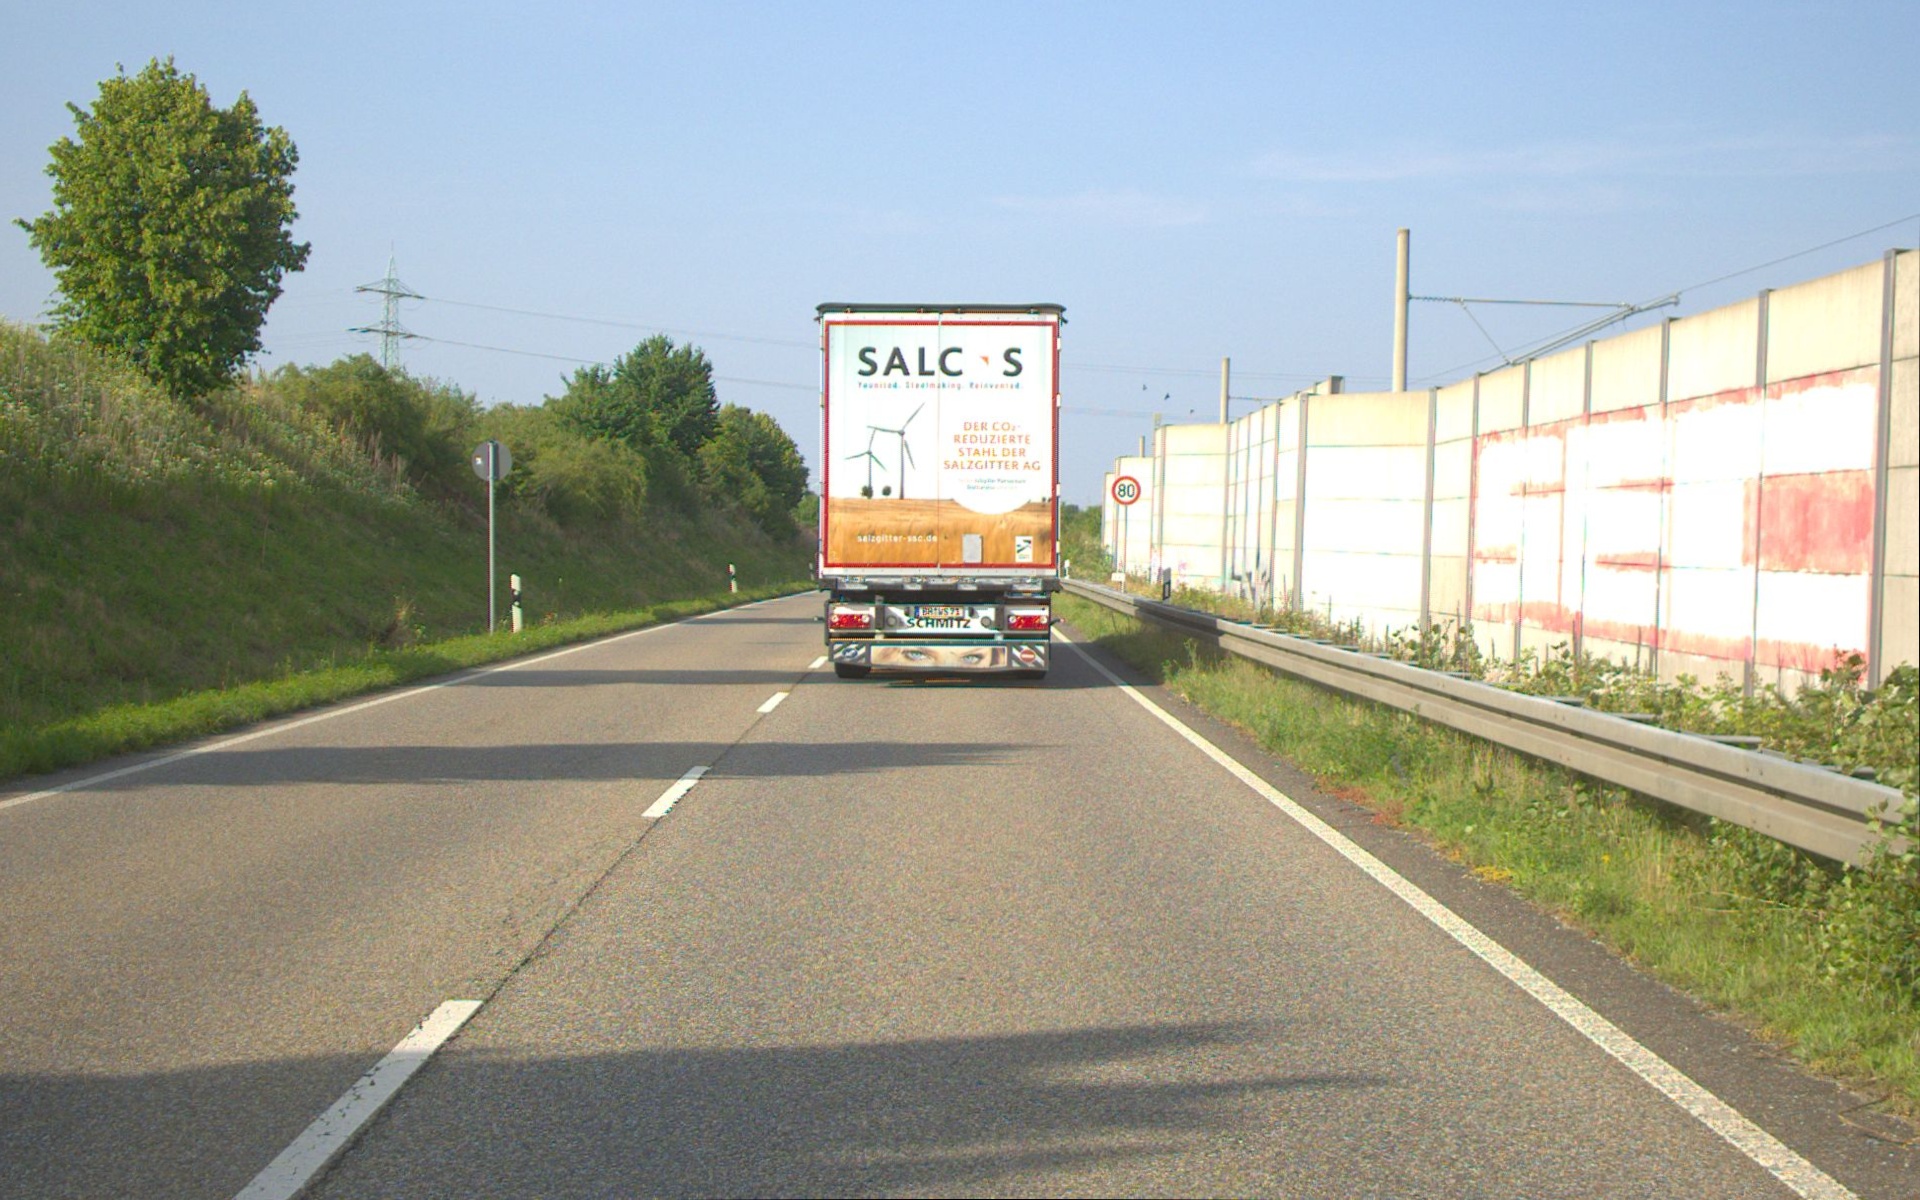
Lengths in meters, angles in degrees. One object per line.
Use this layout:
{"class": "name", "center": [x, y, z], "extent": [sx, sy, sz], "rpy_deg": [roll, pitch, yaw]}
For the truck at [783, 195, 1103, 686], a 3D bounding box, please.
{"class": "truck", "center": [-0.328, -1.796, 41.753], "extent": [3.290, 5.072, 12.039], "rpy_deg": [0, 1, -1]}
